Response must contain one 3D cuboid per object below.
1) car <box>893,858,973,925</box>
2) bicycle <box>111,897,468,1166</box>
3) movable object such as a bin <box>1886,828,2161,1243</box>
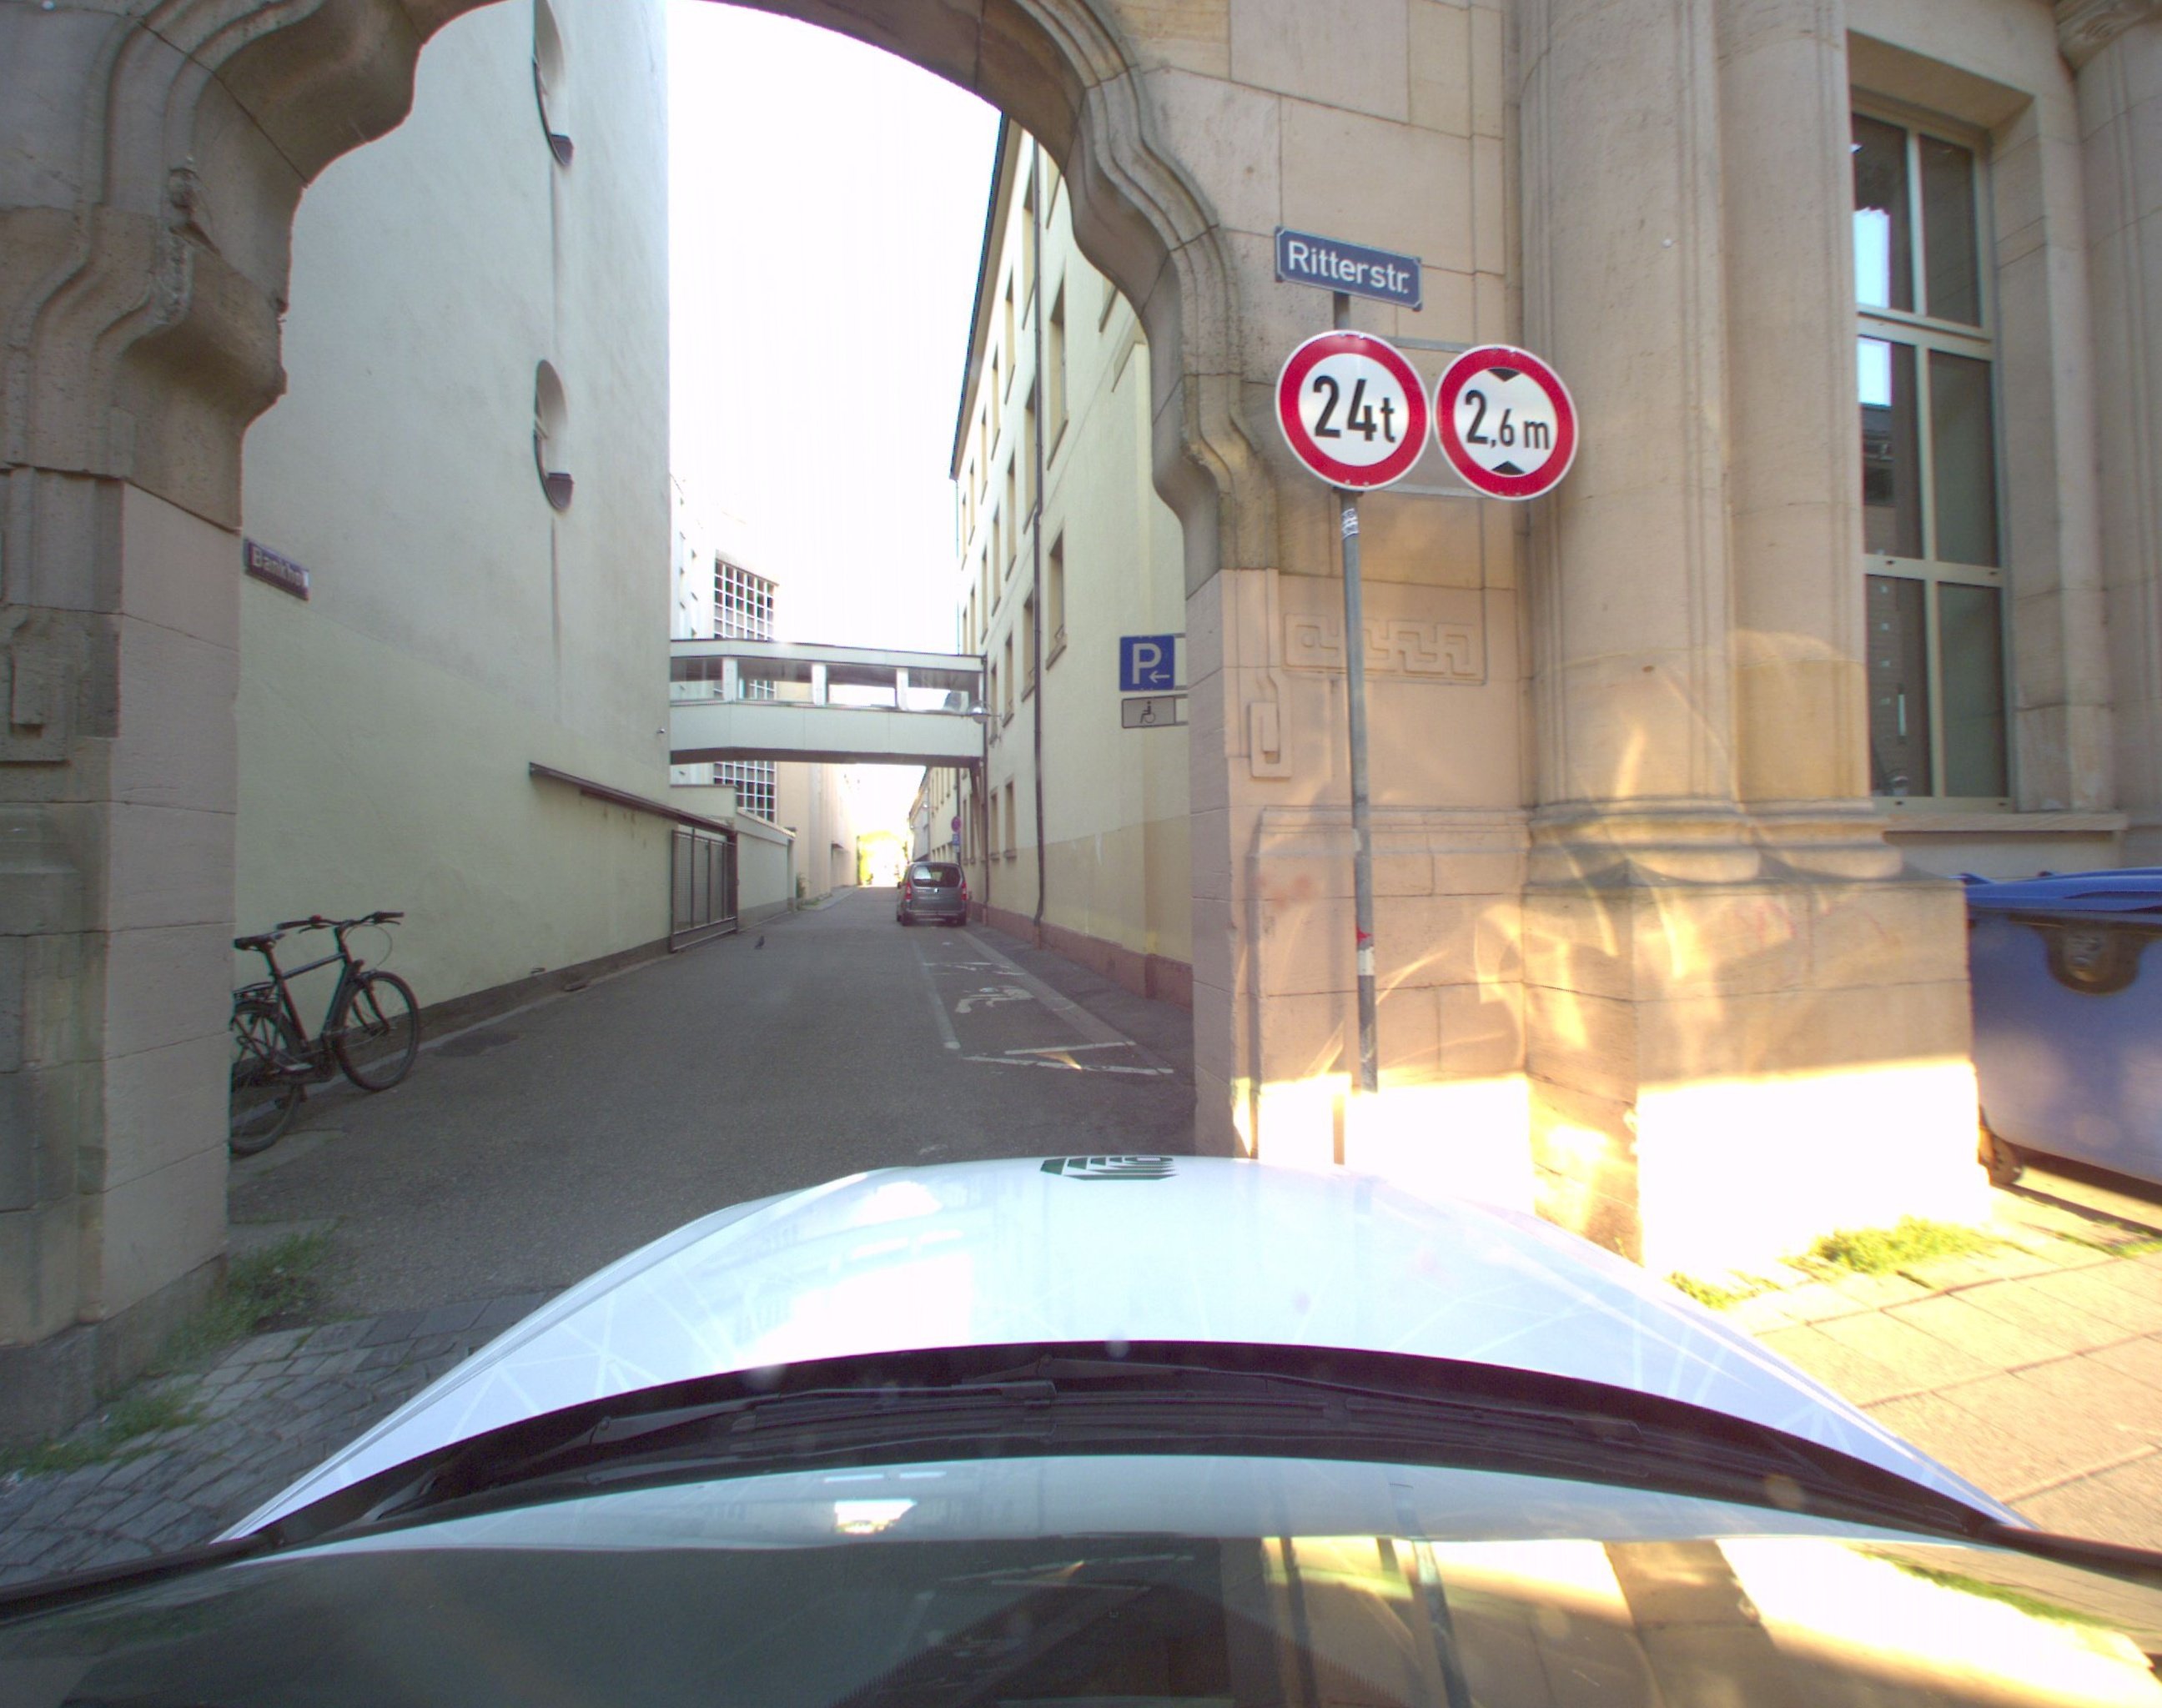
[{"bbox_3d":[-4.453,1.059,24.088,1.859,1.756,4.139,3,-2,-16],"label":"car"},{"bbox_3d":[-4.169,0.827,4.496,0.596,1.079,1.748,0,0,-13],"label":"bicycle"},{"bbox_3d":[4.374,0.632,3.315,1.183,1.474,1.074,-1,1,-10],"label":"movable object such as a bin"}]
